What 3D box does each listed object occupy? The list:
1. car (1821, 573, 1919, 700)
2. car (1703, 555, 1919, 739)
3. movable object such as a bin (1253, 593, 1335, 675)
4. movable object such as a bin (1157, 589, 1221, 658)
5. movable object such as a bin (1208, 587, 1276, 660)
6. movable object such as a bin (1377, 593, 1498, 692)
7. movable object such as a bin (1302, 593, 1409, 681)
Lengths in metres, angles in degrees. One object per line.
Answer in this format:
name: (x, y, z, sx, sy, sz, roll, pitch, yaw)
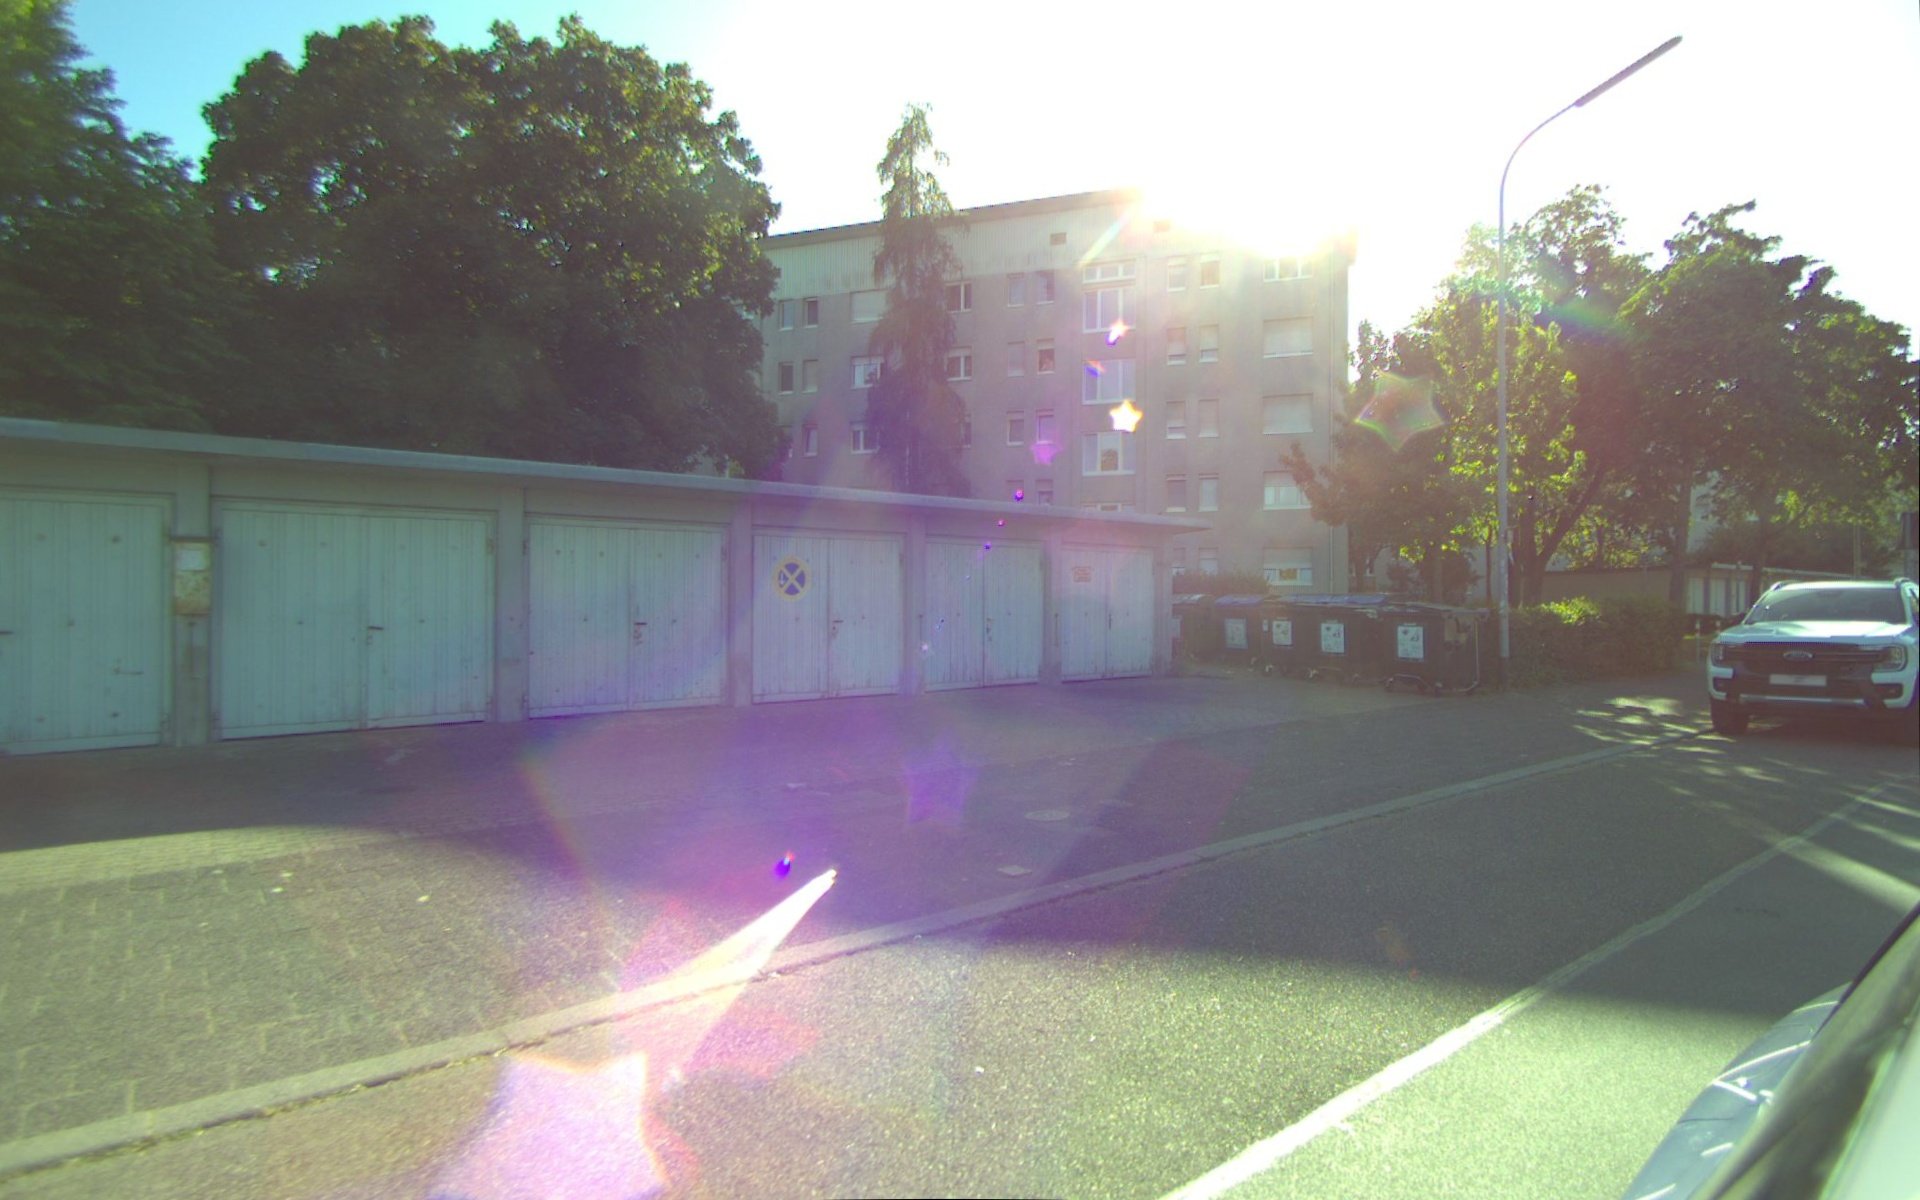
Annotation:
car: (15.306, 0.548, 16.011, 4.474, 1.814, 1.836, 1, -2, -40)
car: (11.179, 0.525, 12.606, 5.180, 1.864, 1.910, 1, -2, -40)
movable object such as a bin: (5.896, 0.575, 17.886, 0.847, 1.364, 1.081, -1, 1, -27)
movable object such as a bin: (4.958, 0.487, 21.924, 0.817, 1.434, 1.080, -1, 1, -33)
movable object such as a bin: (5.768, 0.468, 20.724, 0.817, 1.434, 1.080, -1, 1, -33)
movable object such as a bin: (7.074, 0.591, 15.022, 1.031, 1.364, 1.256, -1, 1, -27)
movable object such as a bin: (6.461, 0.572, 16.578, 1.031, 1.364, 1.256, -1, 1, -27)
